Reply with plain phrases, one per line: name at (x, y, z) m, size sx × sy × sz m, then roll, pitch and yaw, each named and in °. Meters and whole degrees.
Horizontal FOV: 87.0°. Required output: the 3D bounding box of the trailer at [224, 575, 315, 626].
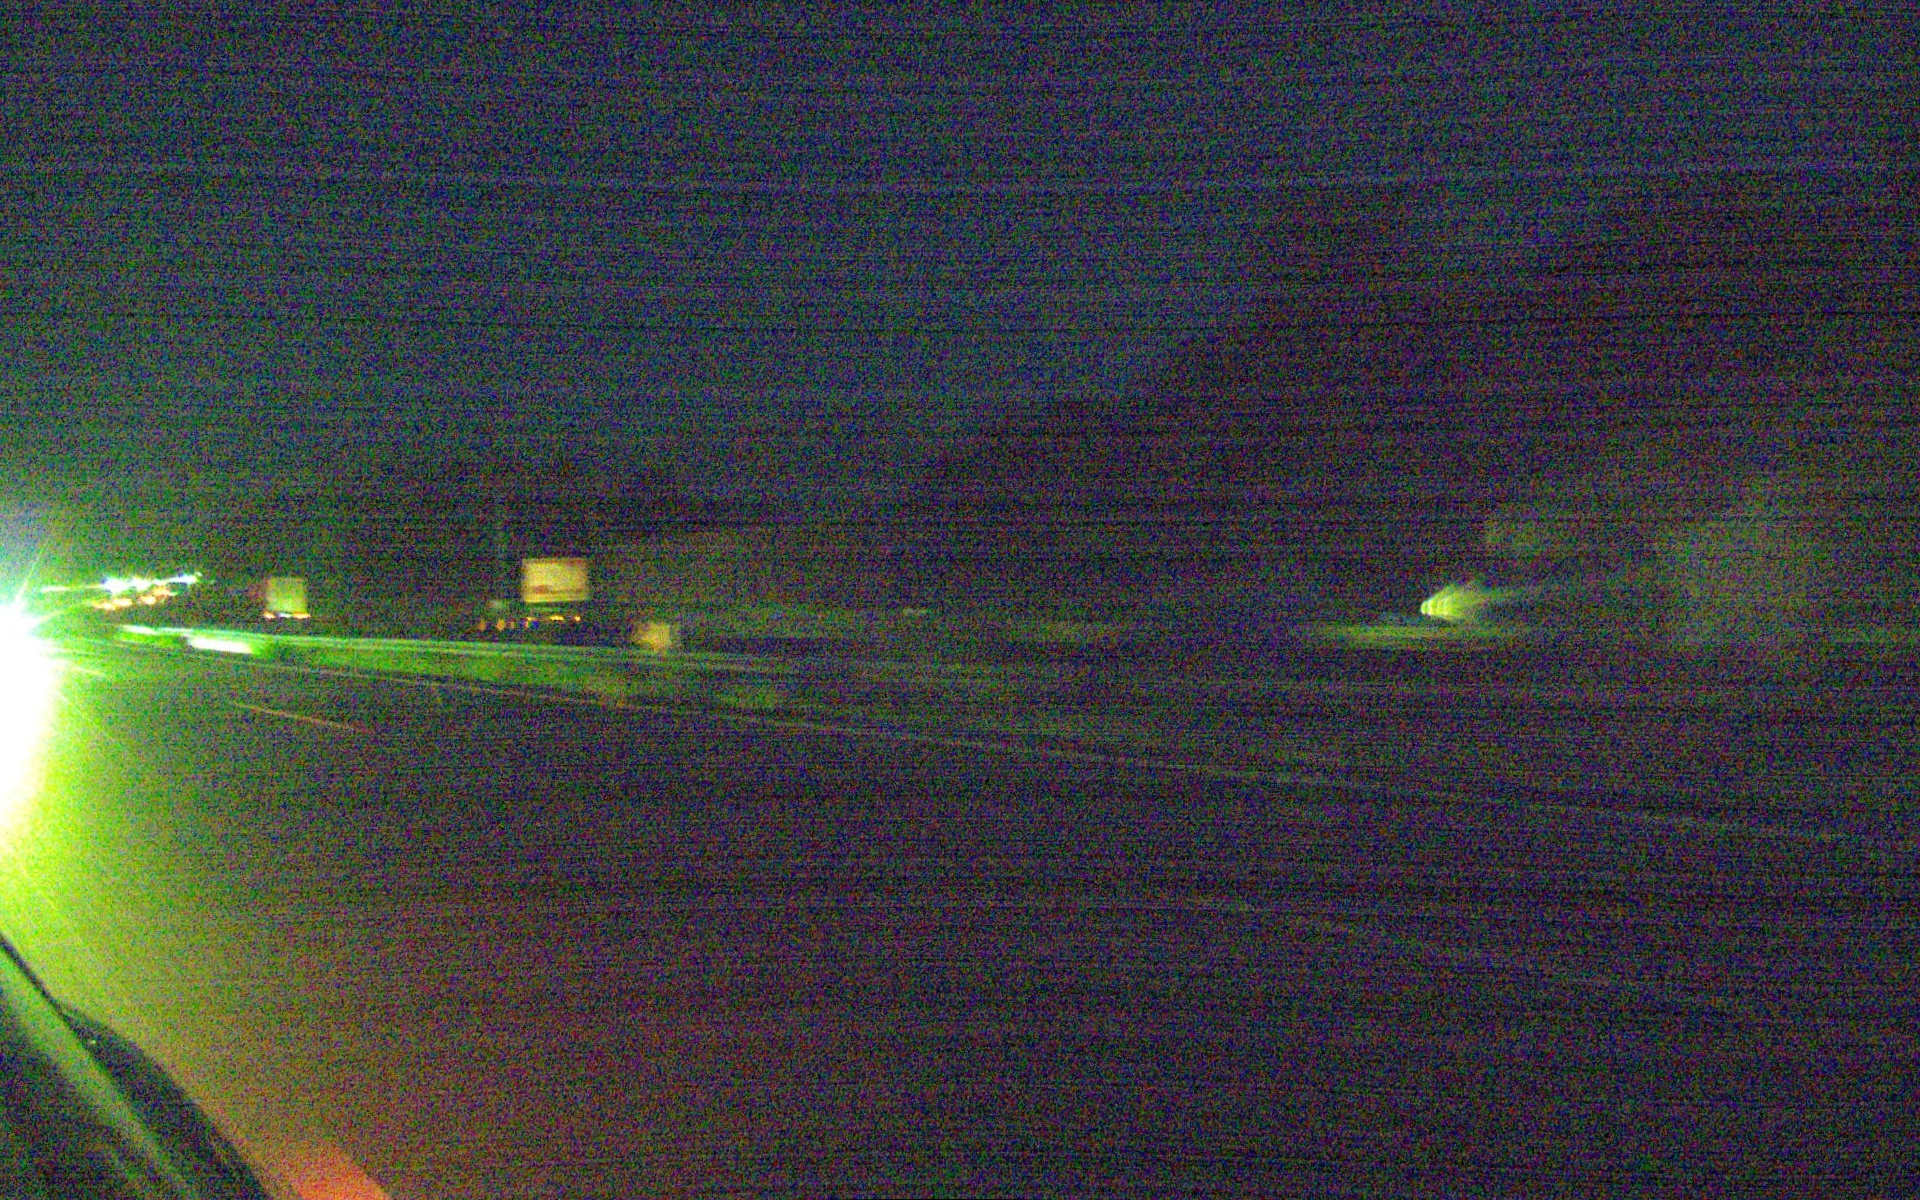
trailer at (-59.964, 0.133, 87.649) m, size 14.123 × 4.121 × 3.560 m, roll -1°, pitch -1°, yaw 43°

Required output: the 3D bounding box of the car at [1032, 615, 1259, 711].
car at (3.684, 1.195, 20.421) m, size 4.072 × 1.739 × 1.974 m, roll -2°, pitch -1°, yaw 39°

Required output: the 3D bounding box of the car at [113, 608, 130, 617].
car at (-144.991, 2.194, 174.993) m, size 1.970 × 1.519 × 4.003 m, roll 0°, pitch 0°, yaw -44°

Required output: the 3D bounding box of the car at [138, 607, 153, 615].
car at (-155.223, 2.162, 192.893) m, size 1.970 × 1.519 × 4.003 m, roll 0°, pitch 0°, yaw -44°

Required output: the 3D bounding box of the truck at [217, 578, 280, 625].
truck at (-64.912, 0.181, 92.242) m, size 5.994 × 4.130 × 3.551 m, roll -1°, pitch -1°, yaw 43°

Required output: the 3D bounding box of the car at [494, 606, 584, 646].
car at (-20.848, 1.248, 50.077) m, size 4.510 × 1.890 × 2.372 m, roll -1°, pitch -1°, yaw 41°
